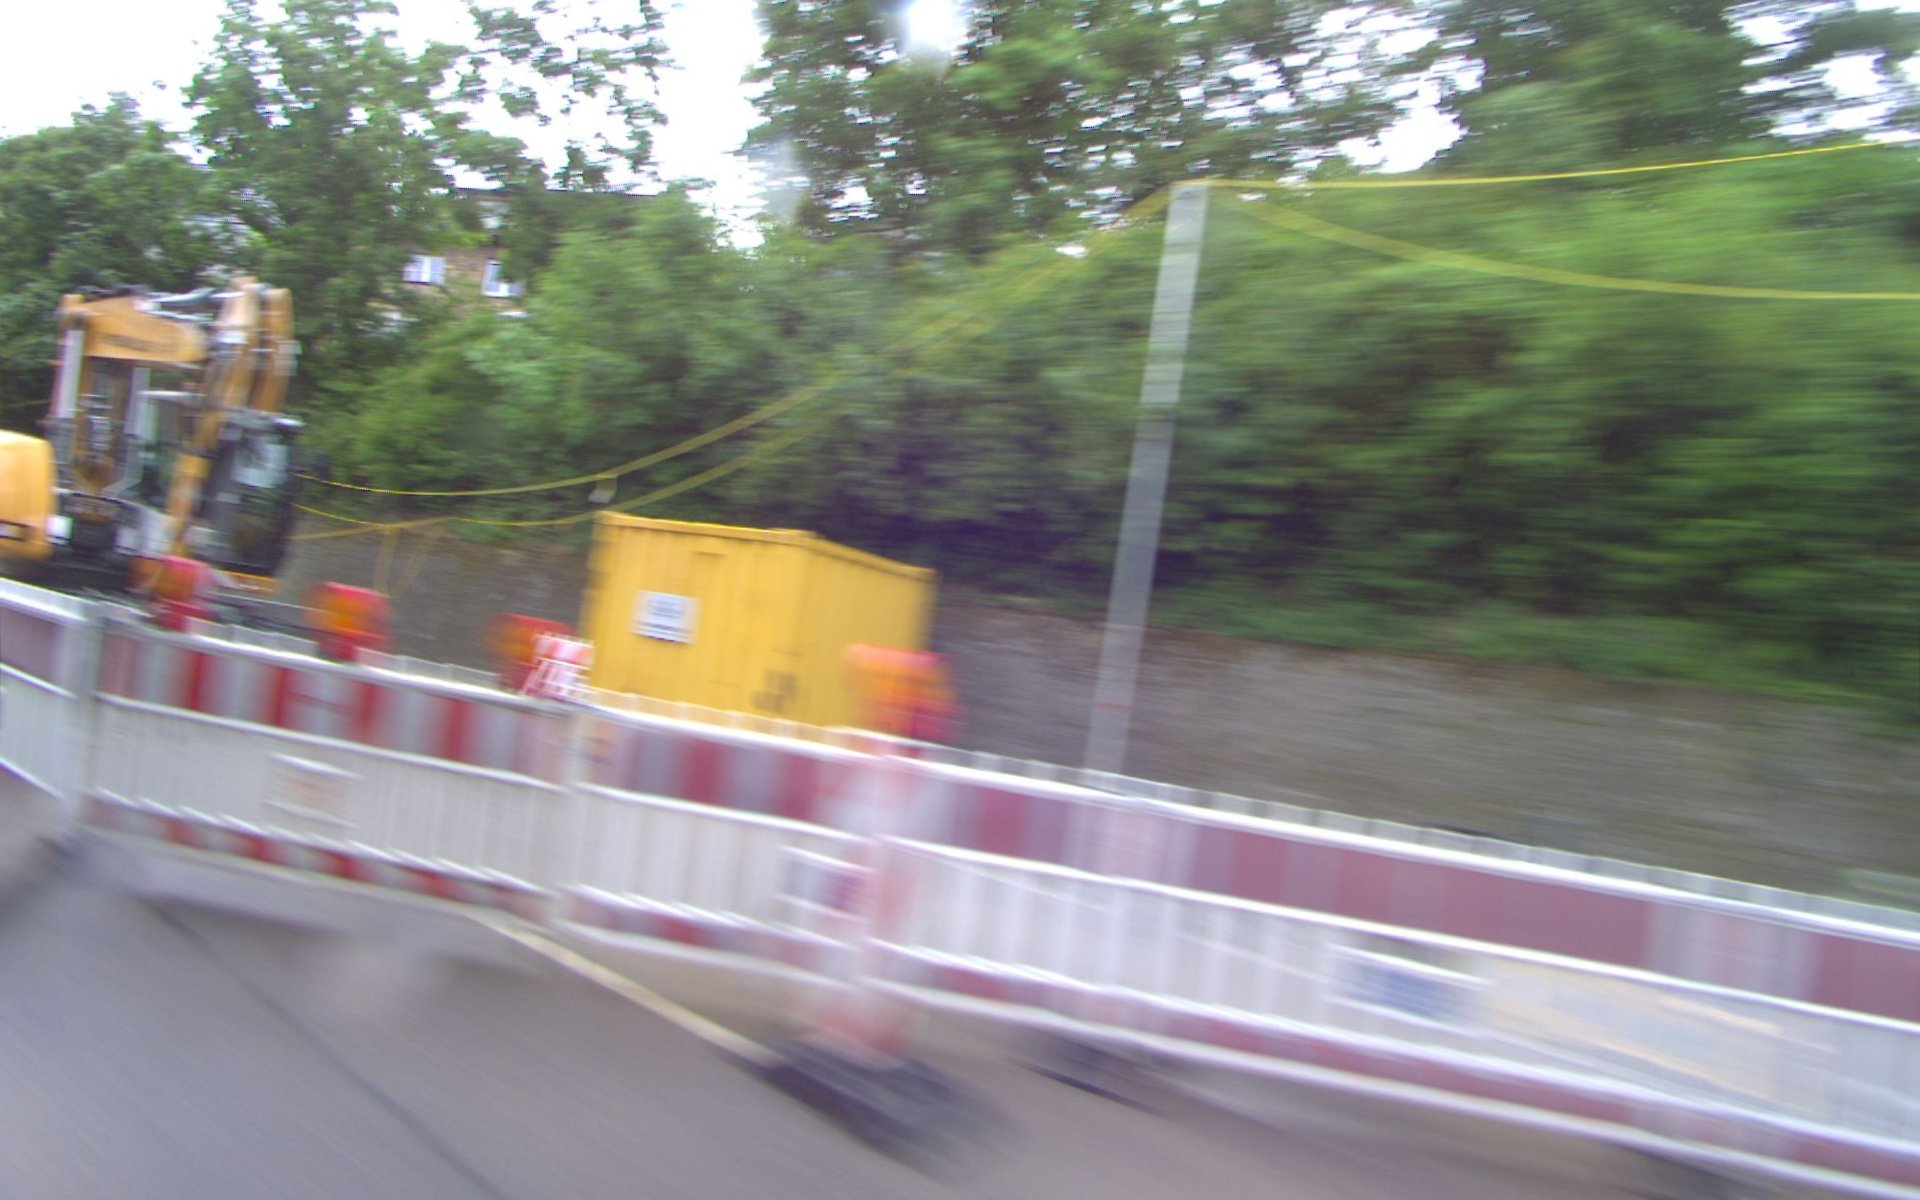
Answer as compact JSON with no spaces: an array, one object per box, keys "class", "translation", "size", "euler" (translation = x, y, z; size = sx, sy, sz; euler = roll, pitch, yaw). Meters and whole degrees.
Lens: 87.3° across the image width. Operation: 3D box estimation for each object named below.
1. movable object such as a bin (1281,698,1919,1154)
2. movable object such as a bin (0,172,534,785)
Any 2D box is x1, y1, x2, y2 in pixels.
[{"class":"movable object such as a bin","translation":[4.172,1.684,5.667],"size":[3.938,1.536,1.997],"euler":[7,-3,36]},{"class":"movable object such as a bin","translation":[-7.859,-1.032,9.685],"size":[7.205,4.060,2.826],"euler":[7,-2,32]}]
